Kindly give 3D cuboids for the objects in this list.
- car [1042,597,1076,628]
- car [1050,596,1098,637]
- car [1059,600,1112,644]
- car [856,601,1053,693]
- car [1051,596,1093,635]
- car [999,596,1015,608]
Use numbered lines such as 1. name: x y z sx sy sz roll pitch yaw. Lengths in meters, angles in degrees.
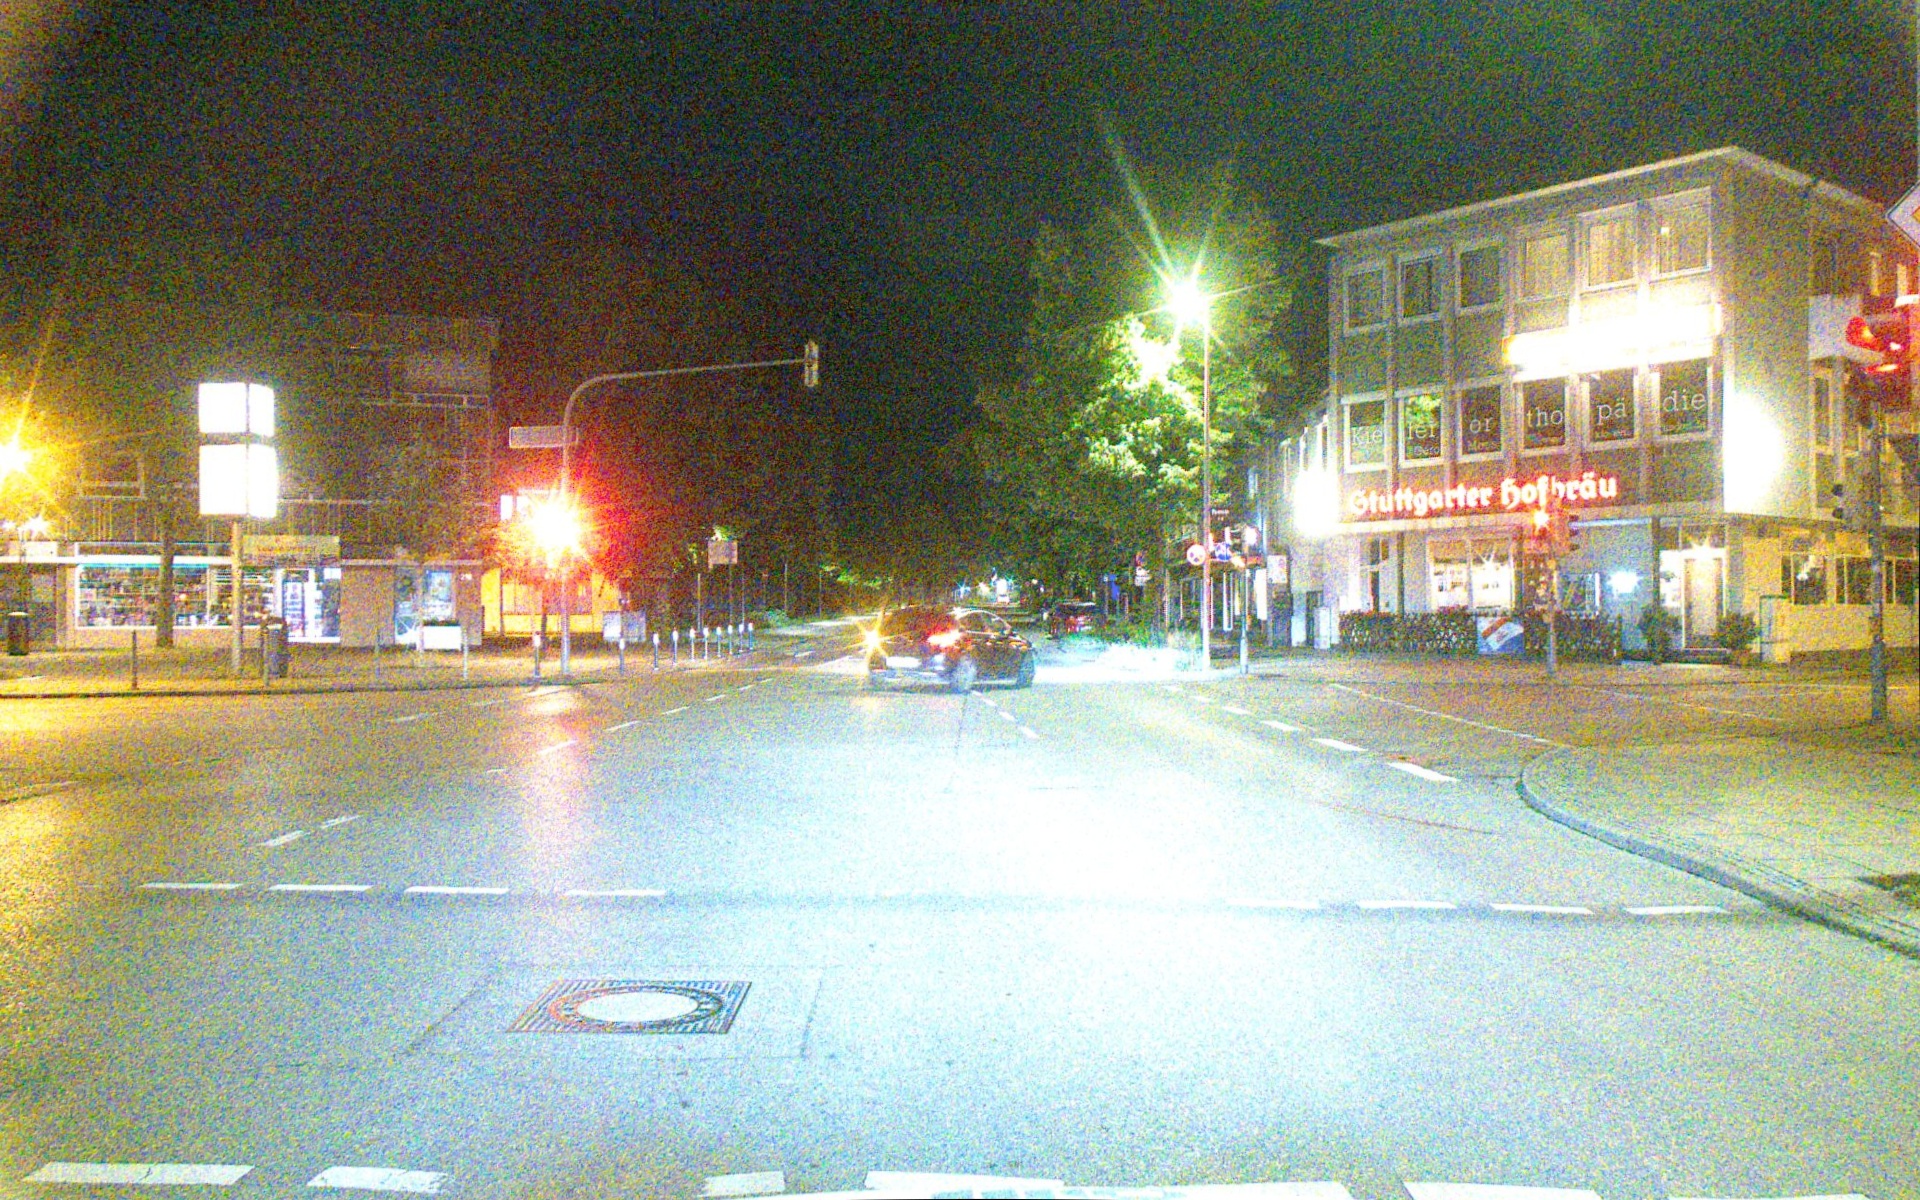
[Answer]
1. car: 5.658 0.686 94.593 1.837 1.713 4.001 0 0 2
2. car: 4.728 0.675 68.855 1.837 1.643 4.001 0 0 2
3. car: 4.790 0.825 63.526 1.837 1.643 4.001 0 0 2
4. car: 0.001 0.797 29.452 1.836 1.479 4.313 1 0 25
5. car: 5.152 0.704 76.532 1.837 1.759 4.001 0 0 2
6. car: 6.507 0.292 229.627 2.181 1.680 4.001 0 0 1
